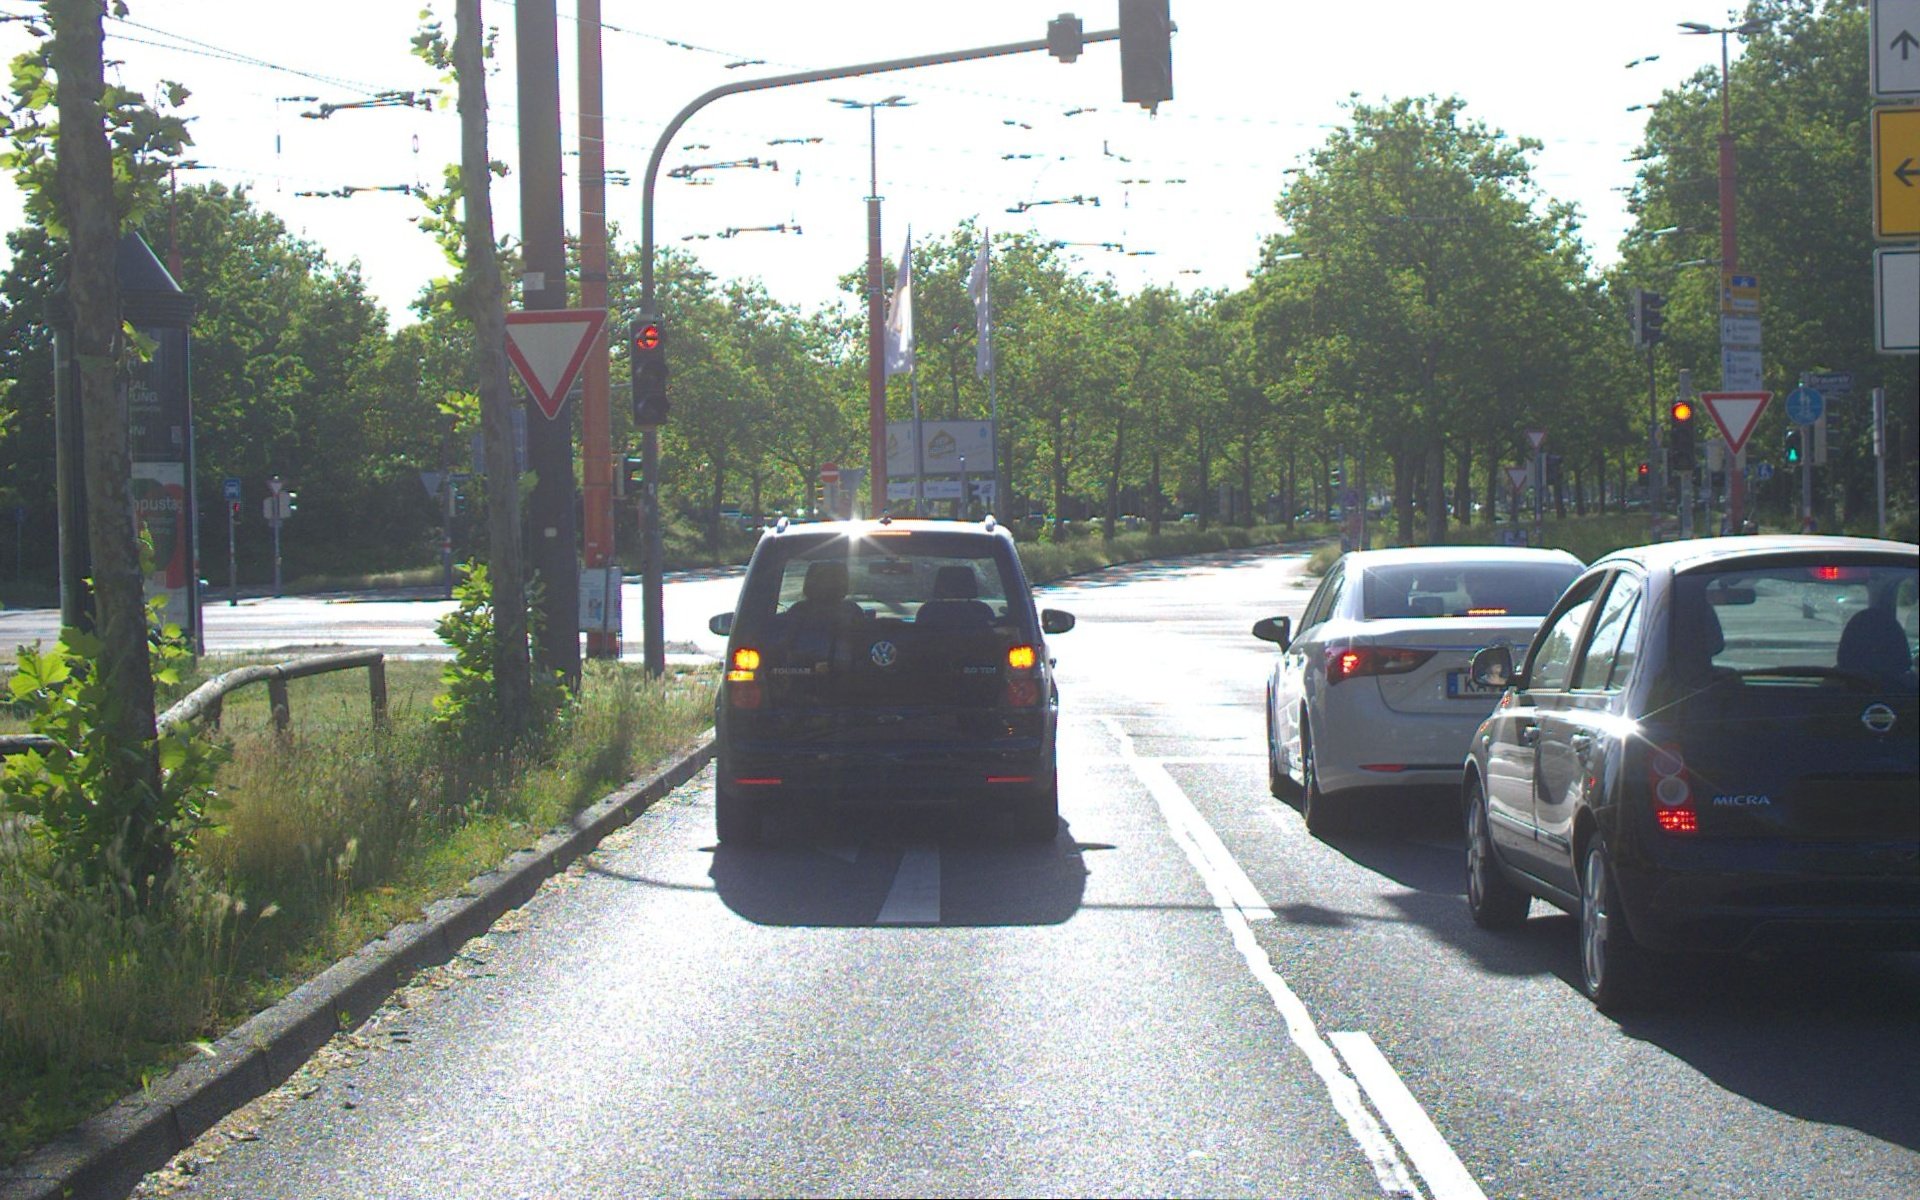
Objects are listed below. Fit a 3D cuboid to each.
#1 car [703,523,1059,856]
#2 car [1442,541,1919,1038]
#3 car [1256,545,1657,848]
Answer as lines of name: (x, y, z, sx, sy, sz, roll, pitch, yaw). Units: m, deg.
car: (-0.399, 0.408, 18.236, 1.710, 1.598, 3.350, 0, 1, -1)
car: (2.788, 0.544, 12.133, 1.639, 1.489, 3.503, 0, 1, -1)
car: (2.585, 0.445, 18.747, 1.678, 1.470, 4.130, 0, 1, 1)
